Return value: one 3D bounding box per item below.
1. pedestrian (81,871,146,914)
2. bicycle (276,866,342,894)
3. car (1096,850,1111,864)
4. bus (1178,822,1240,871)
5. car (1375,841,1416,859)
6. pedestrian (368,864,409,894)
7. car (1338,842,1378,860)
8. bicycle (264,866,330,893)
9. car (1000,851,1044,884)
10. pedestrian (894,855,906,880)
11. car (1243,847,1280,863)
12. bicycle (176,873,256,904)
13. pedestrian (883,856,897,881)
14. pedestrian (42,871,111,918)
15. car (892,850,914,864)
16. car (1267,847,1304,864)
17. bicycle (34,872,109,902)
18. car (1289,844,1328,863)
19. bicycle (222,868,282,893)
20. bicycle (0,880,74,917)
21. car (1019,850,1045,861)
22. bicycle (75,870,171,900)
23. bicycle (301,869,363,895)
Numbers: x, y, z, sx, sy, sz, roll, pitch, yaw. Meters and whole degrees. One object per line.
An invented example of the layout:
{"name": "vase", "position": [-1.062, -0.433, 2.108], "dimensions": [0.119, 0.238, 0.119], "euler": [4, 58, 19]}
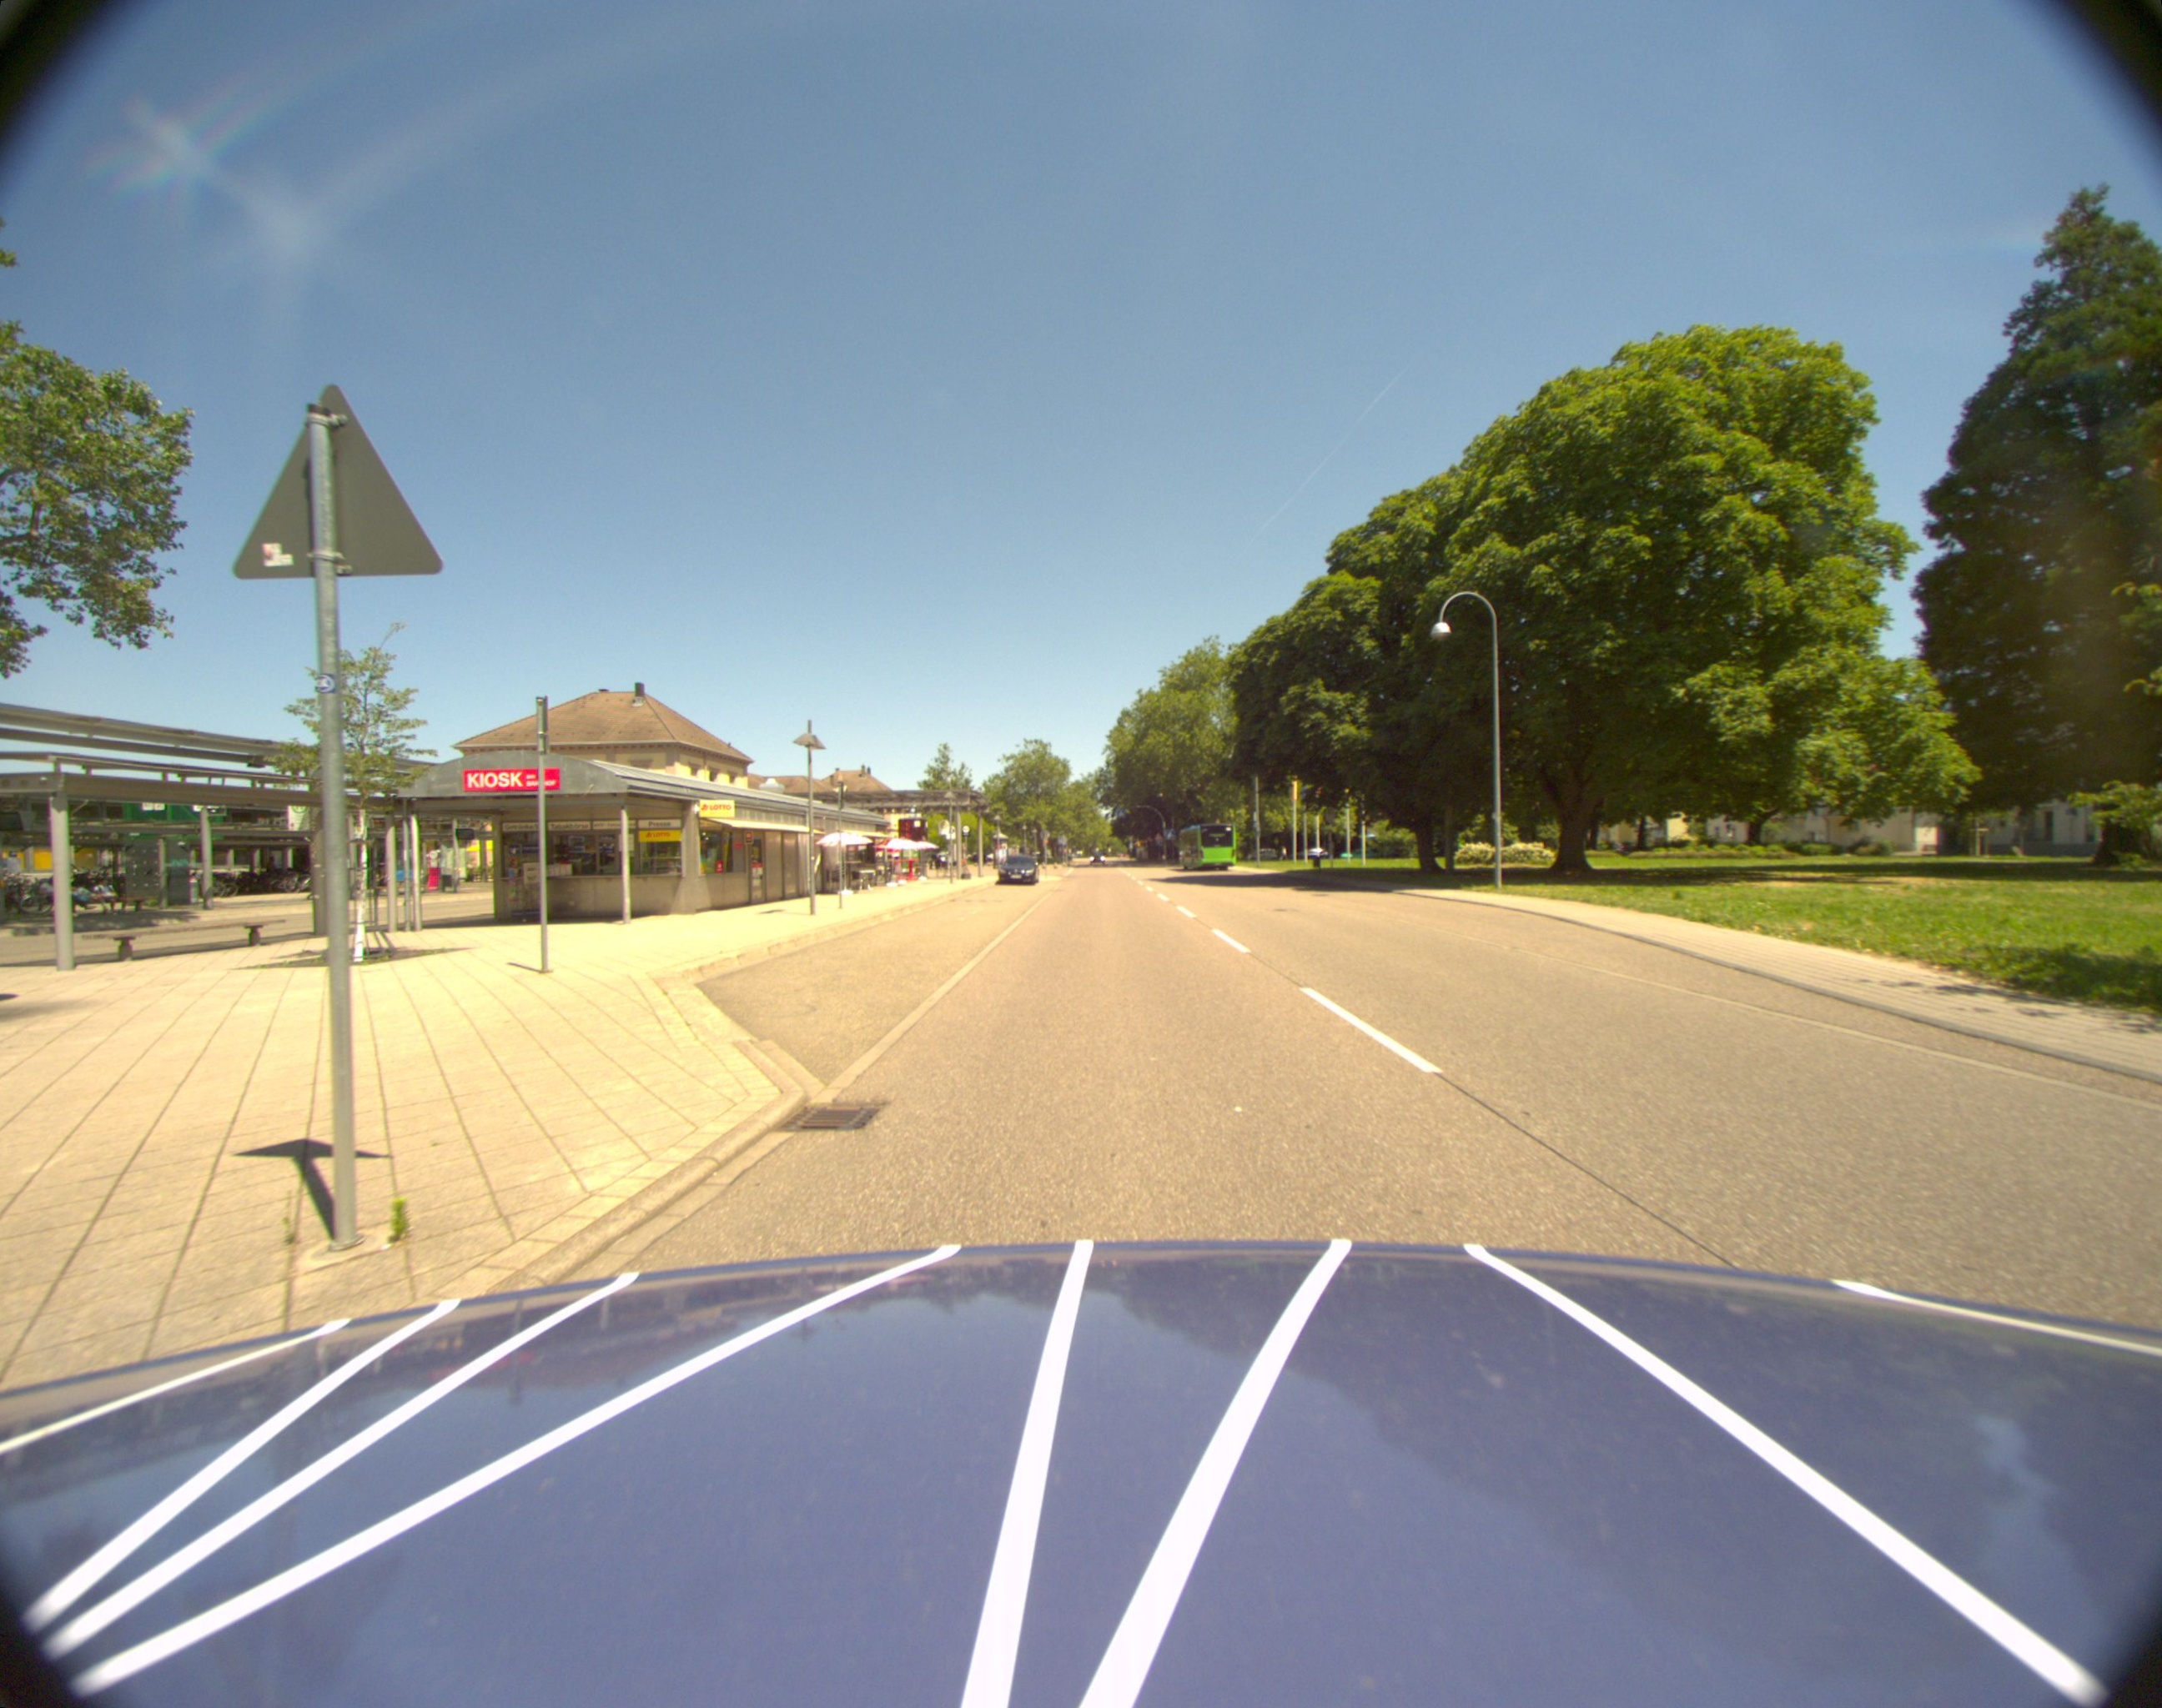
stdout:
{"name": "pedestrian", "position": [-30.678, 1.218, 24.104], "dimensions": [0.962, 1.297, 0.831], "euler": [-1, 1, 3]}
{"name": "bicycle", "position": [-36.019, 1.192, 35.508], "dimensions": [0.669, 1.068, 2.169], "euler": [1, 4, 5]}
{"name": "car", "position": [2.683, 0.365, 90.156], "dimensions": [1.778, 1.536, 4.183], "euler": [1, 1, 2]}
{"name": "bus", "position": [9.436, -0.561, 57.261], "dimensions": [2.814, 3.283, 11.856], "euler": [-1, 1, 1]}
{"name": "car", "position": [36.722, -0.516, 88.786], "dimensions": [3.996, 2.002, 2.000], "euler": [-1, 1, 1]}
{"name": "pedestrian", "position": [-30.393, 1.085, 33.363], "dimensions": [0.962, 1.297, 0.831], "euler": [-1, 1, 3]}
{"name": "car", "position": [32.363, -0.380, 88.772], "dimensions": [3.996, 2.002, 2.000], "euler": [-1, 1, 1]}
{"name": "bicycle", "position": [-36.724, 1.182, 35.643], "dimensions": [0.669, 1.068, 2.169], "euler": [1, 4, 5]}
{"name": "car", "position": [-2.936, 0.643, 38.883], "dimensions": [1.778, 1.536, 4.183], "euler": [1, 1, 2]}
{"name": "pedestrian", "position": [-8.903, 0.668, 37.400], "dimensions": [0.504, 1.225, 0.513], "euler": [-1, 1, -4]}
{"name": "car", "position": [21.232, 0.102, 89.410], "dimensions": [3.996, 1.793, 2.000], "euler": [-1, 1, 4]}
{"name": "bicycle", "position": [-36.267, 1.418, 31.905], "dimensions": [0.669, 1.068, 2.169], "euler": [1, 4, 5]}
{"name": "pedestrian", "position": [-9.300, 0.691, 37.073], "dimensions": [0.489, 1.204, 0.472], "euler": [-1, 1, 8]}
{"name": "pedestrian", "position": [-30.650, 1.215, 23.202], "dimensions": [0.962, 1.378, 0.831], "euler": [-1, 1, 3]}
{"name": "car", "position": [-24.714, 0.385, 105.498], "dimensions": [1.998, 1.869, 4.000], "euler": [-1, 1, 2]}
{"name": "car", "position": [25.184, 0.157, 93.566], "dimensions": [3.988, 2.002, 2.004], "euler": [-1, 1, 37]}
{"name": "bicycle", "position": [-39.651, 1.305, 29.857], "dimensions": [2.167, 1.068, 0.670], "euler": [1, 4, 5]}
{"name": "car", "position": [26.483, -0.063, 88.713], "dimensions": [3.996, 2.002, 2.000], "euler": [-1, 1, 4]}
{"name": "bicycle", "position": [-38.357, 1.225, 35.165], "dimensions": [2.167, 1.068, 0.670], "euler": [1, 4, 5]}
{"name": "bicycle", "position": [-33.131, 1.390, 23.776], "dimensions": [2.168, 1.068, 0.670], "euler": [0, 4, -1]}
{"name": "car", "position": [-7.974, 0.178, 123.603], "dimensions": [3.999, 1.655, 1.999], "euler": [-1, 1, -5]}
{"name": "bicycle", "position": [-37.326, 1.196, 29.634], "dimensions": [2.171, 1.068, 0.862], "euler": [-1, 4, -16]}
{"name": "bicycle", "position": [-33.250, 1.225, 33.754], "dimensions": [2.167, 1.068, 0.670], "euler": [1, 4, 5]}
